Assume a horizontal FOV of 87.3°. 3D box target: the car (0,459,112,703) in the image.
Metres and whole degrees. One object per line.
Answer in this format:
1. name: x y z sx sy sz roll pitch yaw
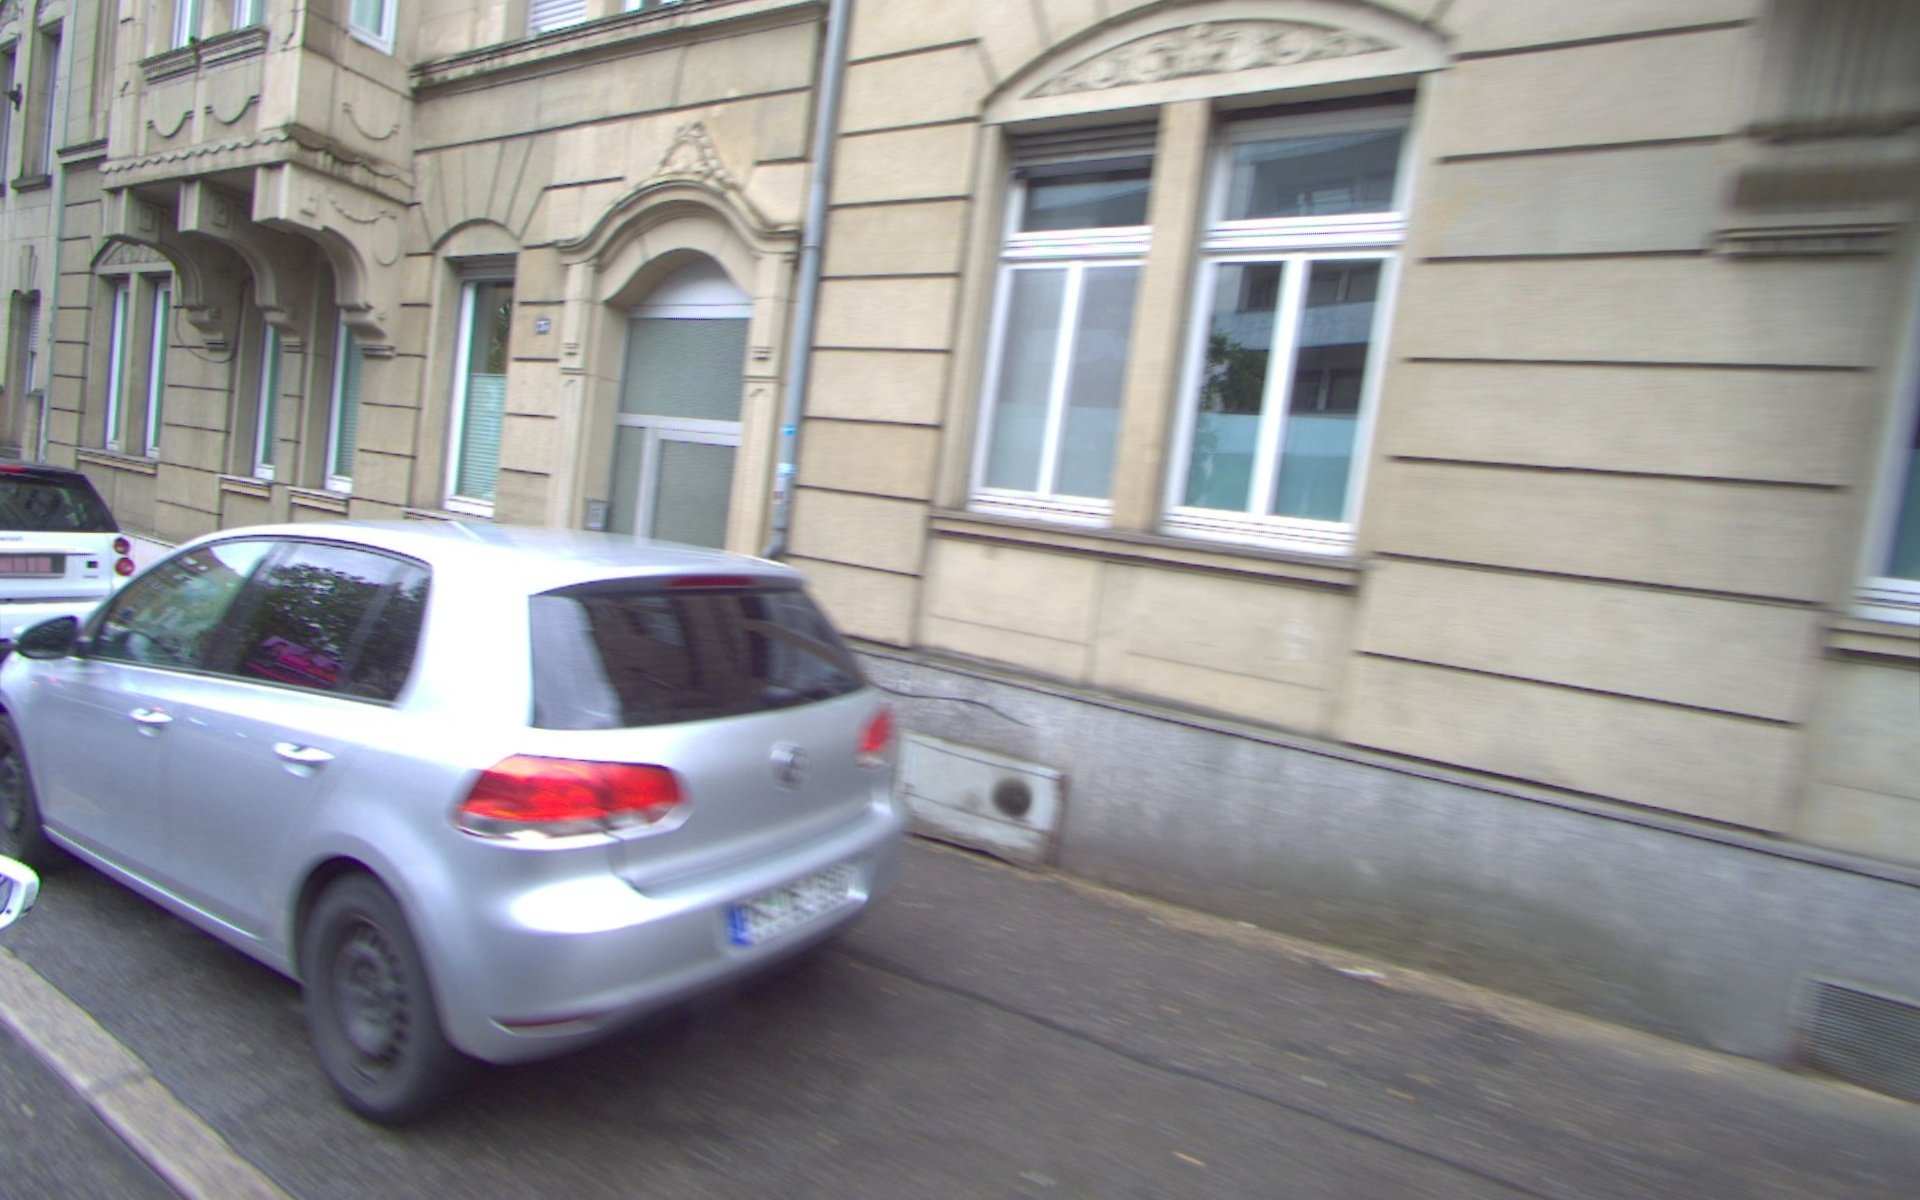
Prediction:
1. car: -7.400 -0.261 7.136 2.927 1.565 1.298 7 5 32

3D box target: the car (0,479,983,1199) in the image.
1. car: -2.090 0.411 3.807 3.934 1.472 1.758 7 5 32
